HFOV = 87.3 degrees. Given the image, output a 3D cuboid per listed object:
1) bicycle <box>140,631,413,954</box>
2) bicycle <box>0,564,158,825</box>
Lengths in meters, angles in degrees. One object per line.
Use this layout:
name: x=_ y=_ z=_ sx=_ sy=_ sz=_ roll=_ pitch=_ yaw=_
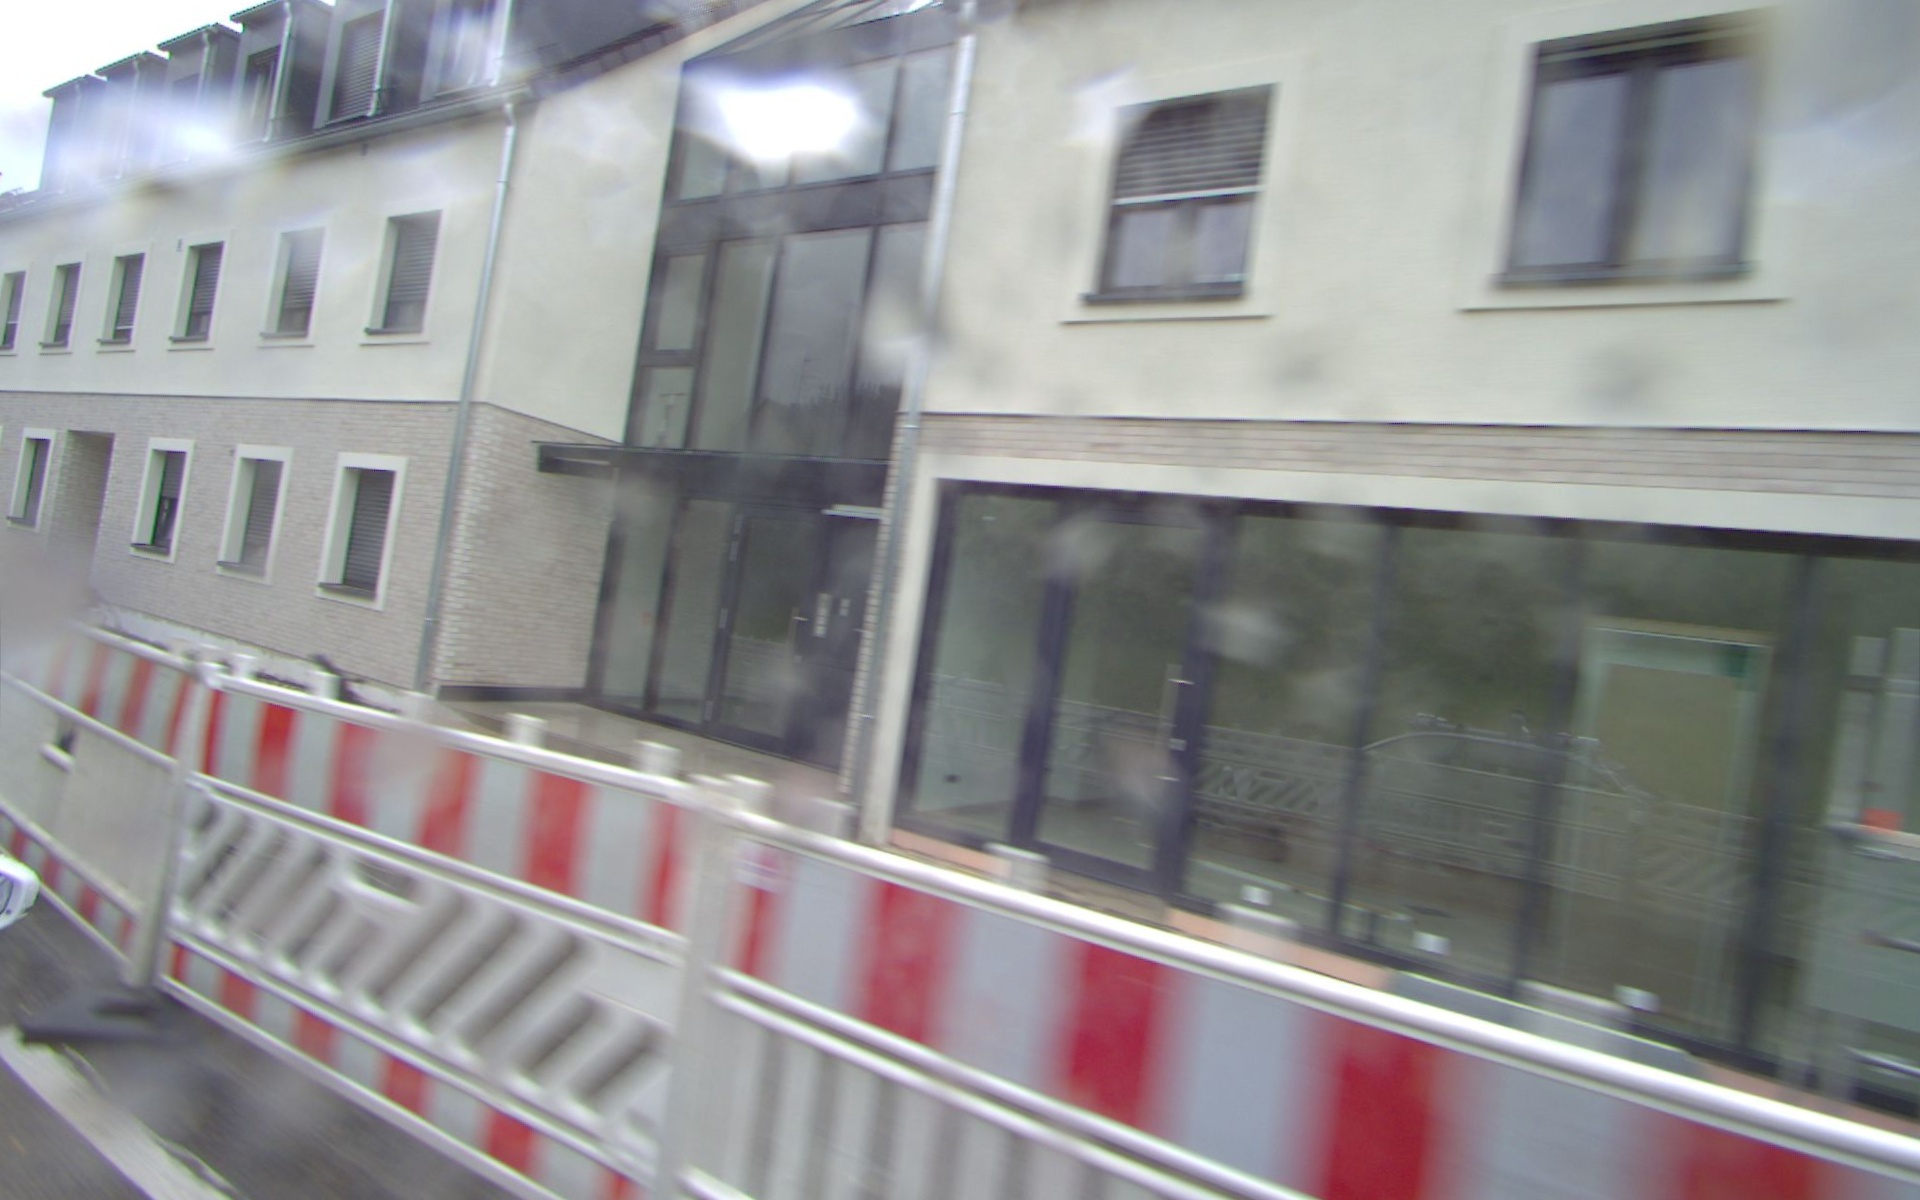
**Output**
bicycle: x=-2.829 y=0.724 z=4.133 sx=1.201 sy=1.041 sz=0.406 roll=7 pitch=-1 yaw=33
bicycle: x=-4.717 y=0.445 z=5.226 sx=1.201 sy=1.157 sz=0.406 roll=7 pitch=0 yaw=33
